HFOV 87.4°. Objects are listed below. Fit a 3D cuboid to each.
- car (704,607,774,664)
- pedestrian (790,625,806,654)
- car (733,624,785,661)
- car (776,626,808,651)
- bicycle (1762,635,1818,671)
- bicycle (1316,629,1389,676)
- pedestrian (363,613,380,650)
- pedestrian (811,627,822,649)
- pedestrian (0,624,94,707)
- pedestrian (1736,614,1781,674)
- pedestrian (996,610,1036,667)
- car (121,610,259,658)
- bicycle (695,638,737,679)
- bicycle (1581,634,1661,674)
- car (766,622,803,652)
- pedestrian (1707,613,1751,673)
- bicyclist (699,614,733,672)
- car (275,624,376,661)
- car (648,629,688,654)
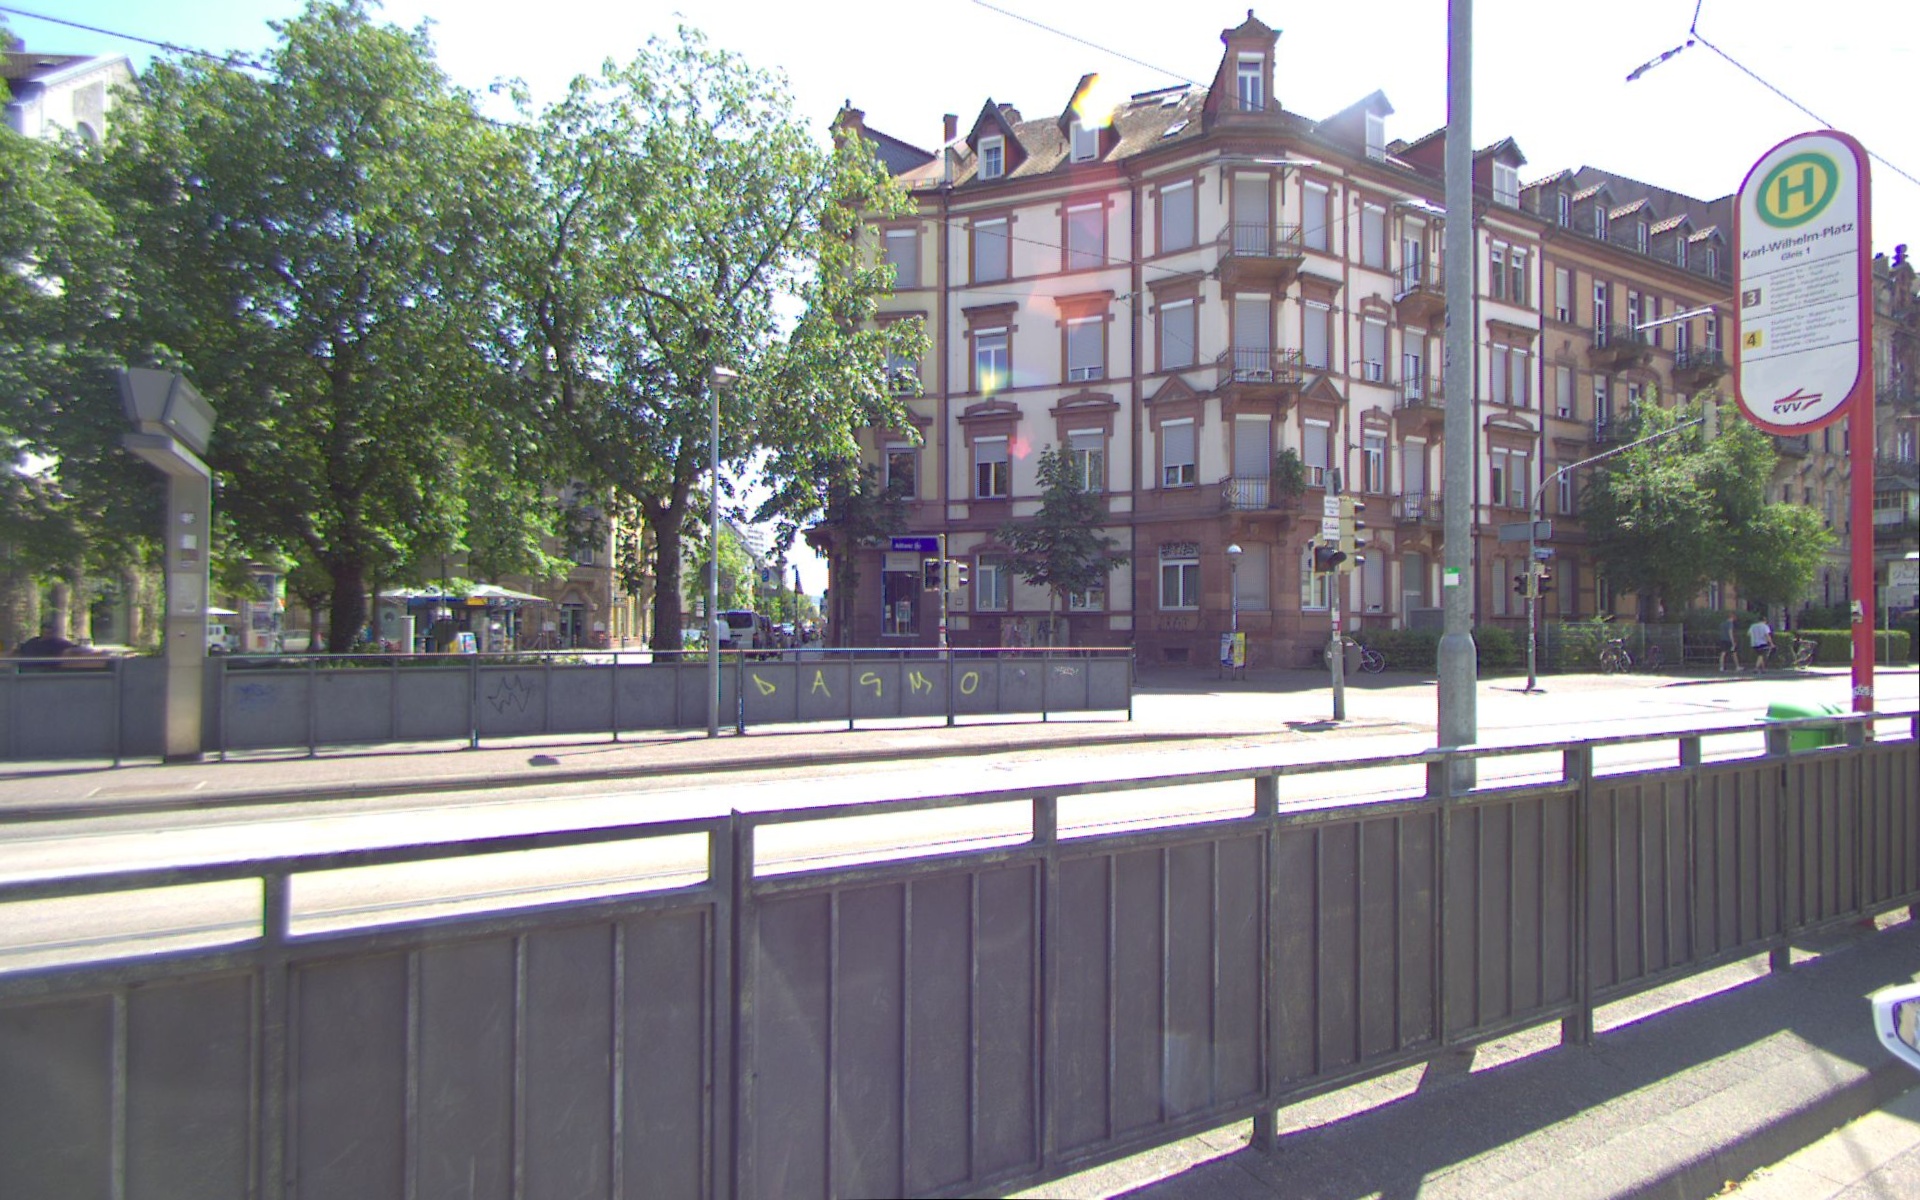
[{"bbox_3d":[-8.329,1.298,38.222,1.962,1.970,3.998,2,0,-4],"label":"car"},{"bbox_3d":[-9.201,2.220,57.100,0.790,1.632,0.731,0,-1,-4],"label":"pedestrian"},{"bbox_3d":[-9.626,2.010,48.294,1.893,1.541,3.998,2,0,-4],"label":"car"},{"bbox_3d":[-12.484,2.844,74.763,1.962,1.617,3.998,2,0,-4],"label":"car"},{"bbox_3d":[28.521,1.801,34.495,2.750,1.151,0.930,2,0,-39],"label":"bicycle"},{"bbox_3d":[11.664,1.556,29.868,1.923,1.312,0.564,2,0,11],"label":"bicycle"},{"bbox_3d":[-26.847,1.423,45.836,0.506,1.692,0.491,0,-1,-8],"label":"pedestrian"},{"bbox_3d":[-10.792,2.863,75.626,0.742,1.632,0.688,0,-1,-4],"label":"pedestrian"},{"bbox_3d":[-14.661,1.042,16.110,0.925,1.261,0.860,2,0,-24],"label":"pedestrian"},{"bbox_3d":[25.011,1.360,31.469,0.862,1.847,0.813,0,1,-27],"label":"pedestrian"},{"bbox_3d":[1.726,1.173,30.917,1.042,1.712,0.722,-1,-1,25],"label":"pedestrian"},{"bbox_3d":[-31.190,1.367,40.820,3.932,1.814,1.994,2,0,-14],"label":"car"},{"bbox_3d":[-6.921,1.641,28.480,0.692,1.070,1.752,1,-1,-30],"label":"bicycle"},{"bbox_3d":[20.228,1.644,30.721,2.742,1.151,0.932,2,0,-31],"label":"bicycle"},{"bbox_3d":[-10.374,2.177,59.459,1.684,1.617,3.998,2,0,-4],"label":"car"},{"bbox_3d":[24.579,1.356,32.113,0.862,1.847,0.813,0,1,-27],"label":"pedestrian"},{"bbox_3d":[-6.924,1.203,28.510,0.692,1.613,0.843,1,-1,-30],"label":"bicyclist"},{"bbox_3d":[-32.077,2.160,50.895,3.920,1.730,1.761,2,0,-14],"label":"car"},{"bbox_3d":[-20.660,2.917,71.168,1.846,1.617,3.998,2,0,-4],"label":"car"}]
